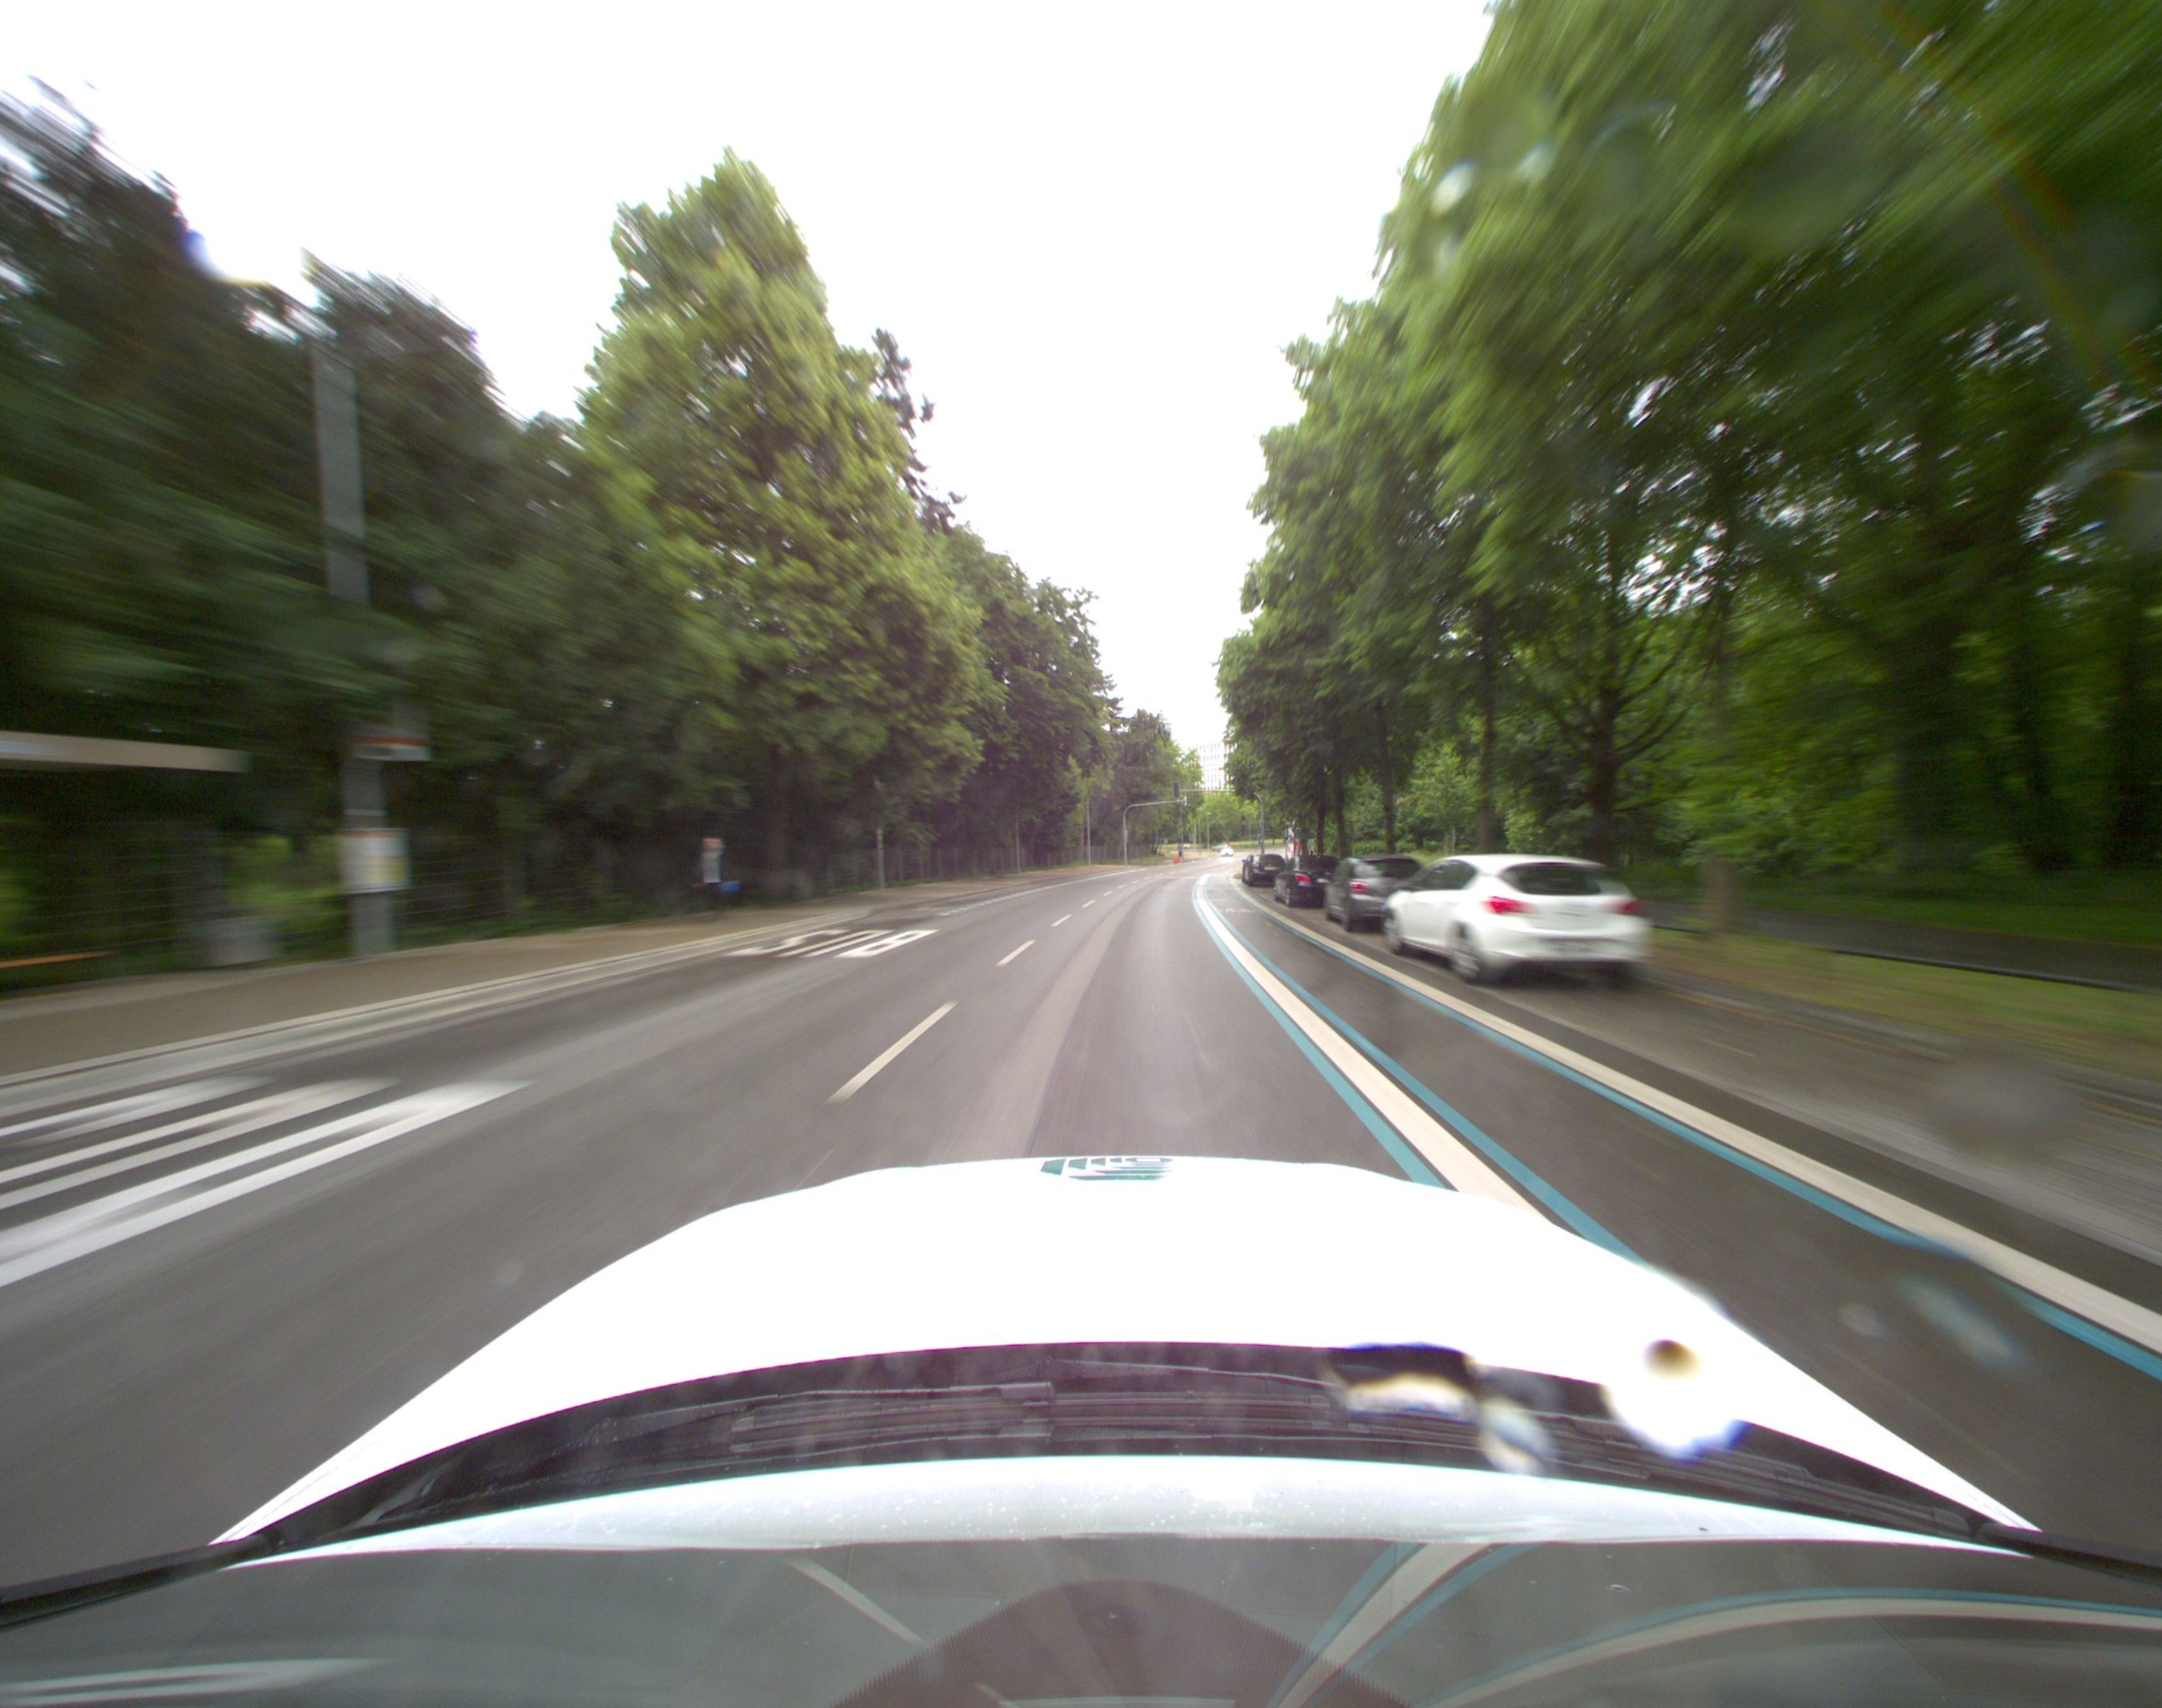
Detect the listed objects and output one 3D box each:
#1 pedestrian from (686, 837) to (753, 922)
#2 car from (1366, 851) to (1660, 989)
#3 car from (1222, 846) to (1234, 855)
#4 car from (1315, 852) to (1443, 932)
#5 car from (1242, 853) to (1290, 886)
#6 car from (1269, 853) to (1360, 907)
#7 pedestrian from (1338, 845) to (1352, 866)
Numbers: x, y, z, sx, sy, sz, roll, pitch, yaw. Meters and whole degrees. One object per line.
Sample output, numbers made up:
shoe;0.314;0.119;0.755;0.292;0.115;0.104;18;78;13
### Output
pedestrian;-7.654;0.514;17.276;0.884;1.733;1.146;0;0;1
car;5.333;0.690;10.865;1.850;1.428;4.657;0;0;5
car;26.647;-0.638;147.289;1.830;1.457;4.518;-1;1;15
car;6.006;0.693;16.887;1.674;1.428;4.328;0;0;8
car;8.488;0.684;37.690;1.690;1.420;4.773;1;0;7
car;6.718;0.692;23.937;1.772;1.407;4.854;0;0;6
pedestrian;21.690;0.098;66.974;0.883;1.733;1.147;0;0;4
